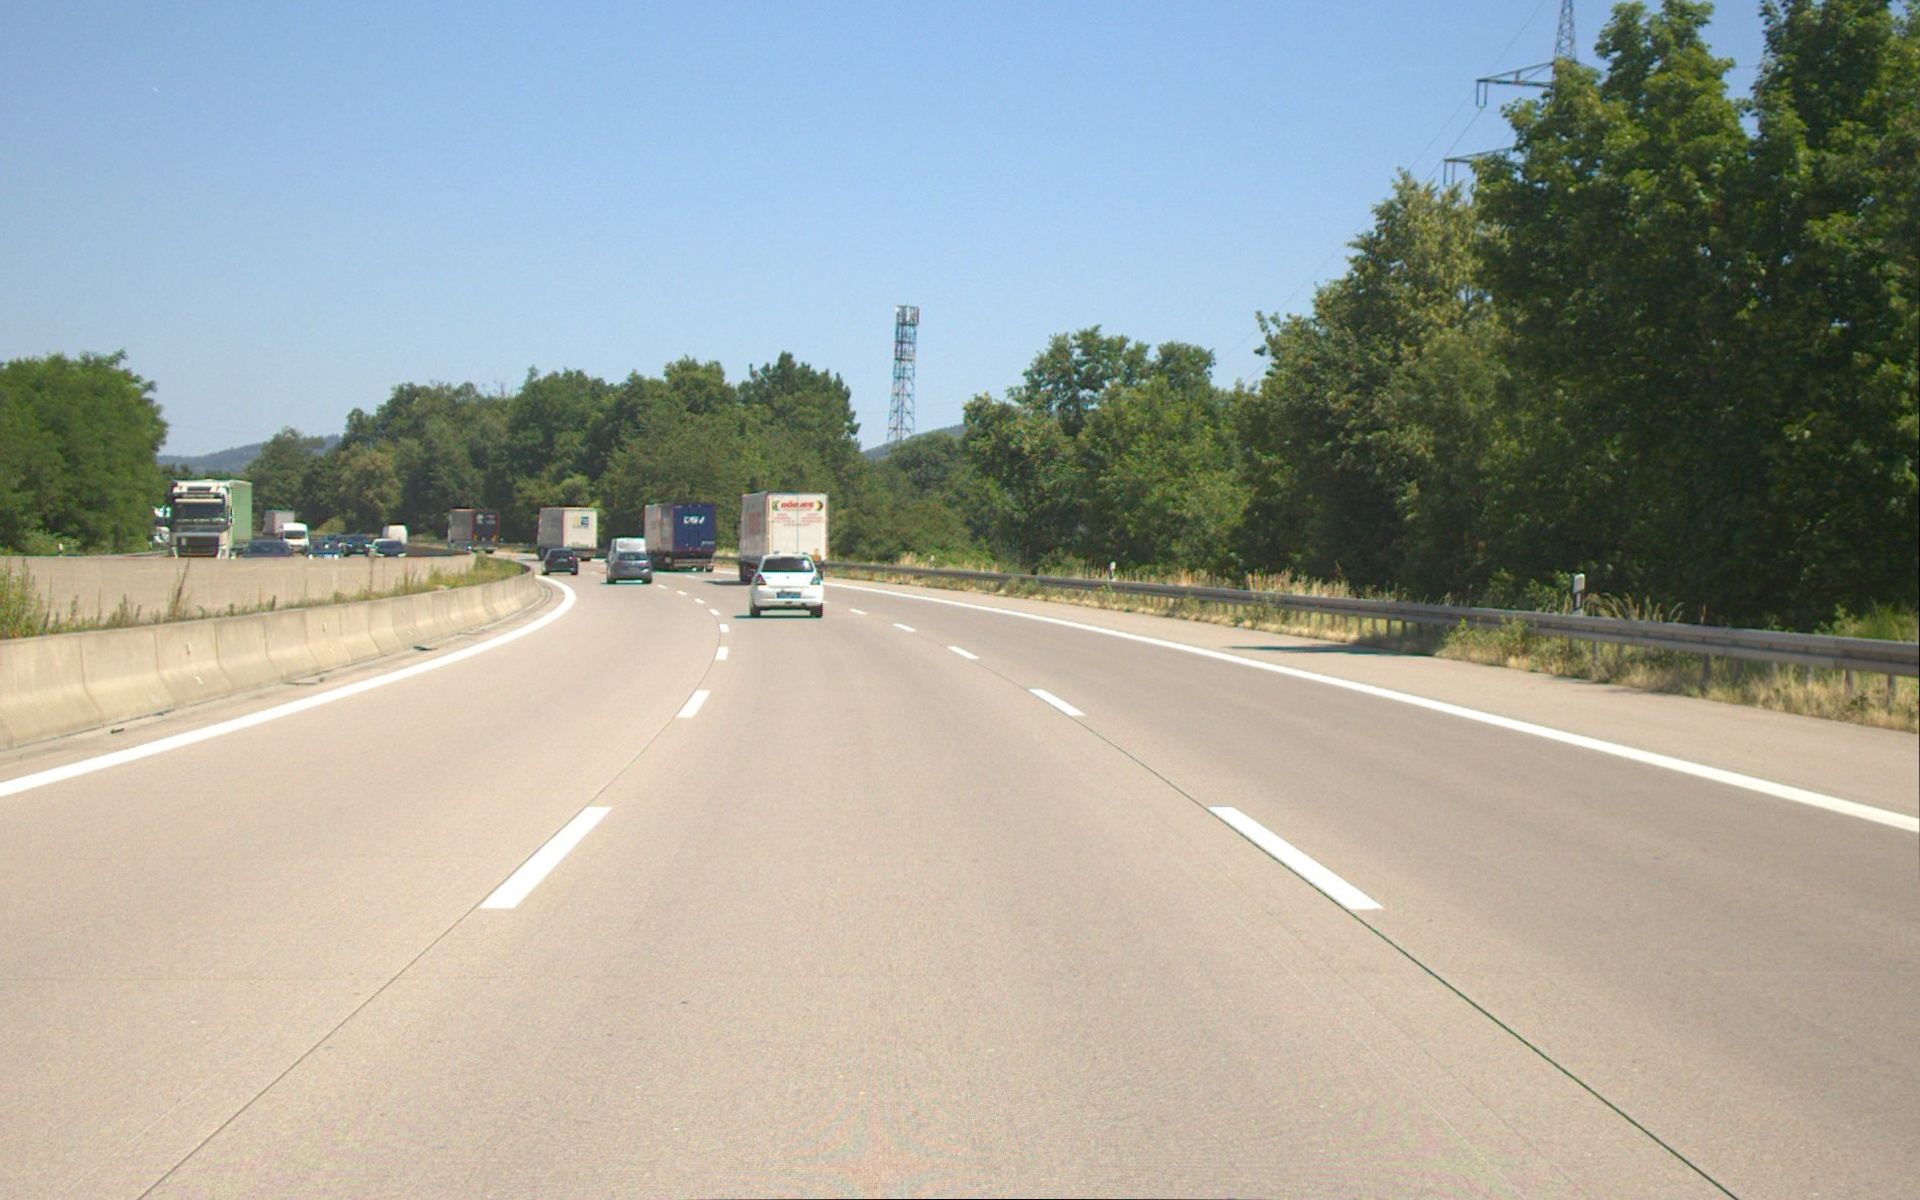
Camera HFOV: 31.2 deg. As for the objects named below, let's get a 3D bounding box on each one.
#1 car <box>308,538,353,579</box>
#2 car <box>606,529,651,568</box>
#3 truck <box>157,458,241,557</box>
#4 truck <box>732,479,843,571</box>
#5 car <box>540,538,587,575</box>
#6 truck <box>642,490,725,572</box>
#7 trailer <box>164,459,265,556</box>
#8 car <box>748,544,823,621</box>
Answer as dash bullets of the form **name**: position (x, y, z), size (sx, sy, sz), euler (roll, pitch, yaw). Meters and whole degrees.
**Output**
- **car**: position (-31.976, -2.104, 174.774), size (1.862, 2.007, 4.001), euler (2, 1, -6)
- **car**: position (-14.578, -2.263, 151.154), size (1.609, 1.719, 3.574), euler (0, 1, -11)
- **truck**: position (-30.899, -3.712, 139.803), size (2.664, 3.922, 5.970), euler (0, 1, -6)
- **truck**: position (-7.694, -3.235, 150.985), size (3.819, 3.876, 14.156), euler (0, 1, -7)
- **car**: position (-21.442, -2.350, 185.740), size (2.021, 1.694, 4.002), euler (5, 1, -12)
- **truck**: position (-16.605, -4.102, 205.564), size (3.906, 4.725, 14.054), euler (0, 1, -9)
- **trailer**: position (-31.510, -3.852, 145.732), size (2.681, 3.922, 13.249), euler (0, 1, -6)
- **car**: position (-4.195, -0.435, 82.861), size (1.641, 1.656, 3.361), euler (5, 1, -3)
